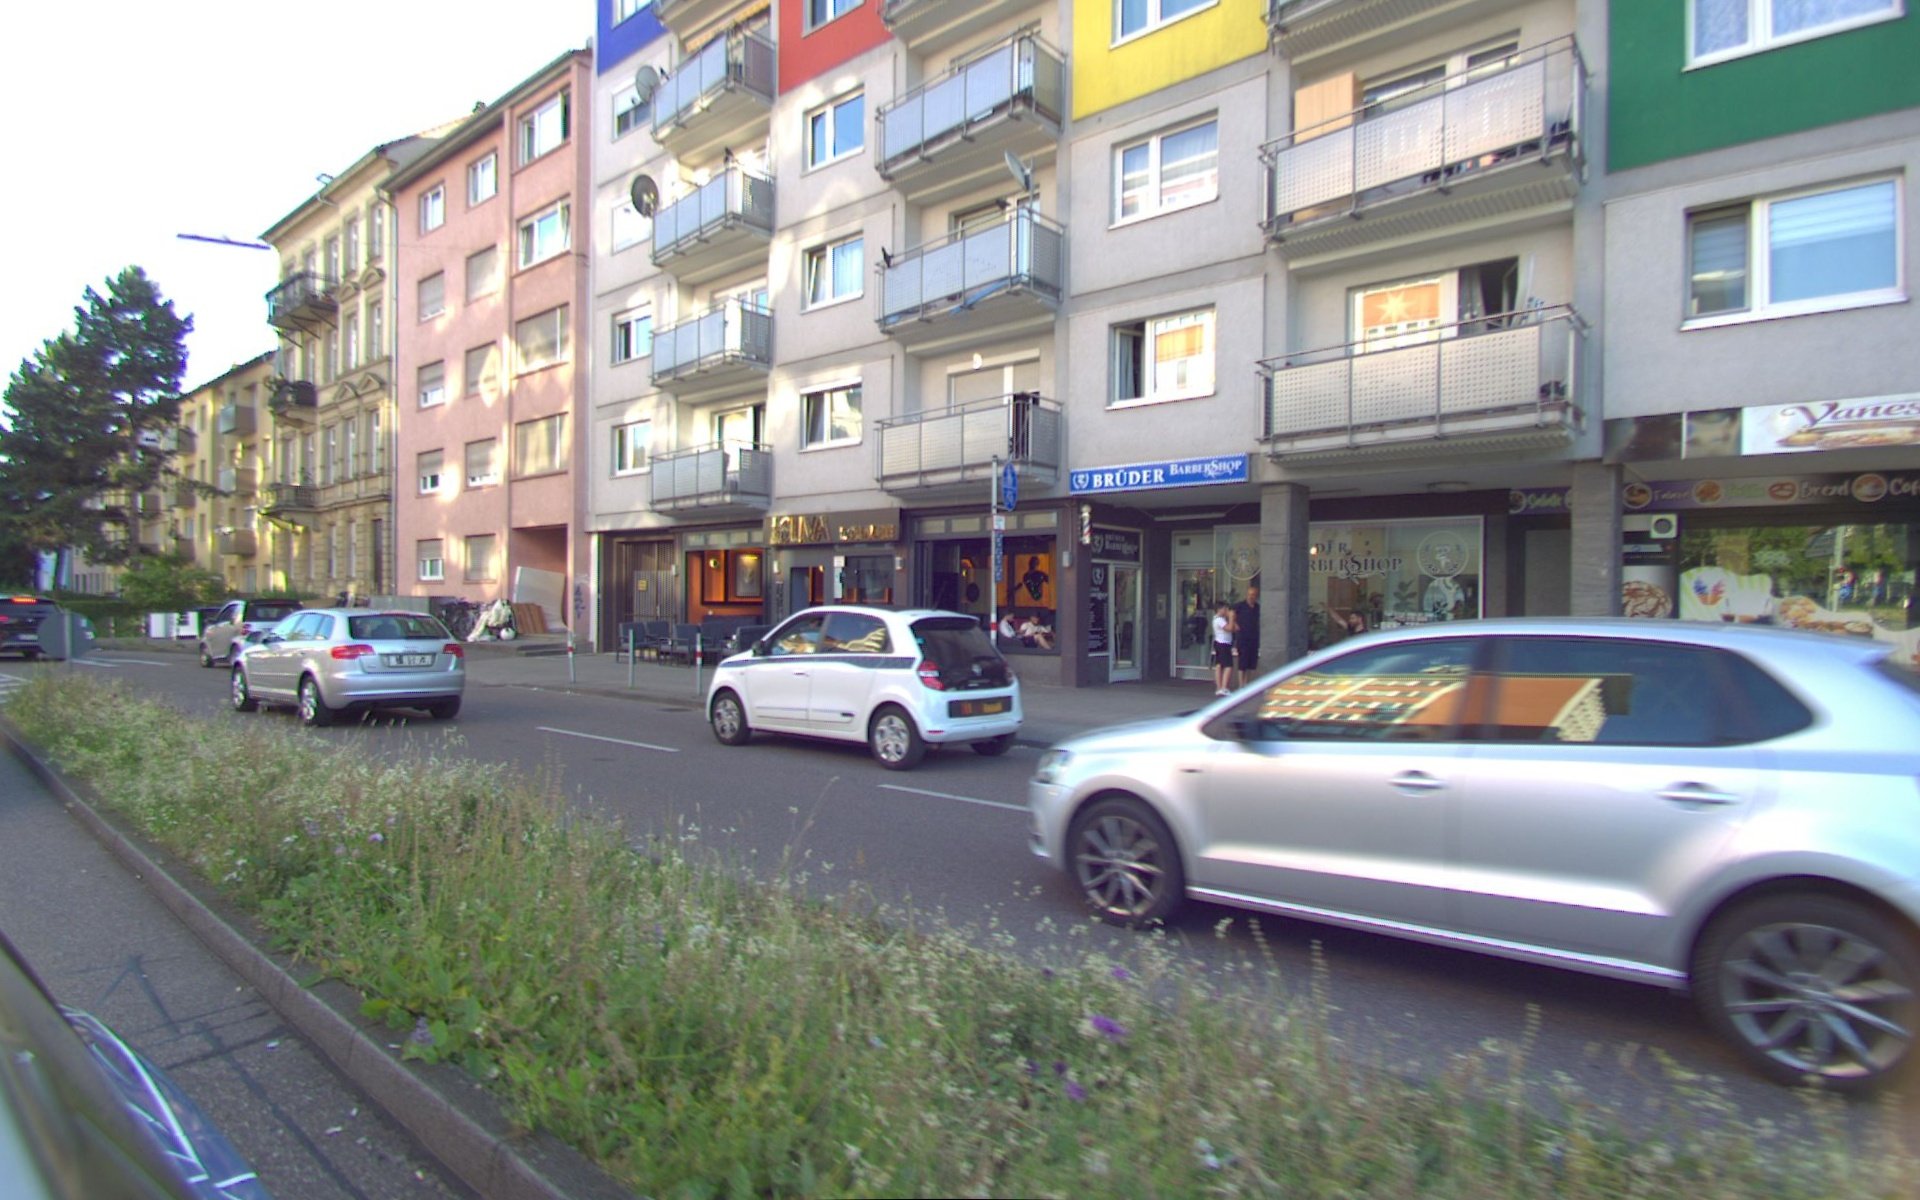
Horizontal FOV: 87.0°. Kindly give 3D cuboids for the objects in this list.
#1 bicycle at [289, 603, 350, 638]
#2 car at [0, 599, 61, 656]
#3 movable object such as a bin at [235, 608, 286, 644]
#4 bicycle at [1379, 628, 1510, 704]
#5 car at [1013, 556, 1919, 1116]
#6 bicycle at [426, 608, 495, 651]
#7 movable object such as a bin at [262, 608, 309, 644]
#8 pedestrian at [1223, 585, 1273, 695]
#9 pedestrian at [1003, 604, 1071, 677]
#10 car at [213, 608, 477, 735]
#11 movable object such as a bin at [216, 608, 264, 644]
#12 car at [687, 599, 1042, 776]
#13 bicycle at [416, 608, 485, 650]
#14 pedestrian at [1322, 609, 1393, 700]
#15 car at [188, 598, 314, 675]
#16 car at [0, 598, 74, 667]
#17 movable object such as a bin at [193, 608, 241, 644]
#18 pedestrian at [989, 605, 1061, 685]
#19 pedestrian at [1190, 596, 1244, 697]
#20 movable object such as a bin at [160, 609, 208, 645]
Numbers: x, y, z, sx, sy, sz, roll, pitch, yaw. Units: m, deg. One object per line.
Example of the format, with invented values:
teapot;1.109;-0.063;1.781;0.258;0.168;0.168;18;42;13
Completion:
bicycle;-22.650;0.706;35.824;0.473;1.200;1.758;0;0;38
car;-29.200;0.807;30.271;4.071;1.641;1.714;0;-2;20
movable object such as a bin;-24.532;0.907;35.511;0.916;1.242;1.292;0;0;1
bicycle;7.115;0.944;14.888;1.692;1.006;0.620;0;0;32
car;2.230;0.690;4.336;3.805;1.556;1.657;-1;-2;42
bicycle;-14.340;0.831;29.077;0.473;1.200;1.758;0;0;38
movable object such as a bin;-23.604;0.901;35.450;0.837;1.242;1.193;0;0;1
pedestrian;4.513;0.620;15.892;0.650;1.685;0.624;0;-1;5
pedestrian;1.468;0.748;19.245;0.974;1.356;0.871;0;-1;41
car;-8.218;0.844;13.385;4.098;1.436;1.691;-1;-2;39
movable object such as a bin;-25.456;0.913;35.806;0.837;1.242;1.193;0;0;1
car;-1.098;0.808;10.703;3.635;1.556;1.658;-1;-2;40
bicycle;-14.878;0.836;29.576;0.473;1.200;1.758;0;0;38
pedestrian;5.939;0.798;15.137;0.799;1.323;0.626;0;0;-2
car;-15.918;0.795;22.697;2.804;1.605;1.520;-1;-2;38
car;-23.309;0.766;24.601;4.092;1.556;1.661;0;-2;34
movable object such as a bin;-26.325;0.920;35.874;0.837;1.242;1.193;0;0;1
pedestrian;1.152;0.772;17.936;0.882;1.356;0.961;0;-1;41
pedestrian;3.881;0.683;15.259;0.656;1.478;0.619;0;-1;30
movable object such as a bin;-27.253;0.934;35.552;0.836;1.242;1.195;0;0;-7
